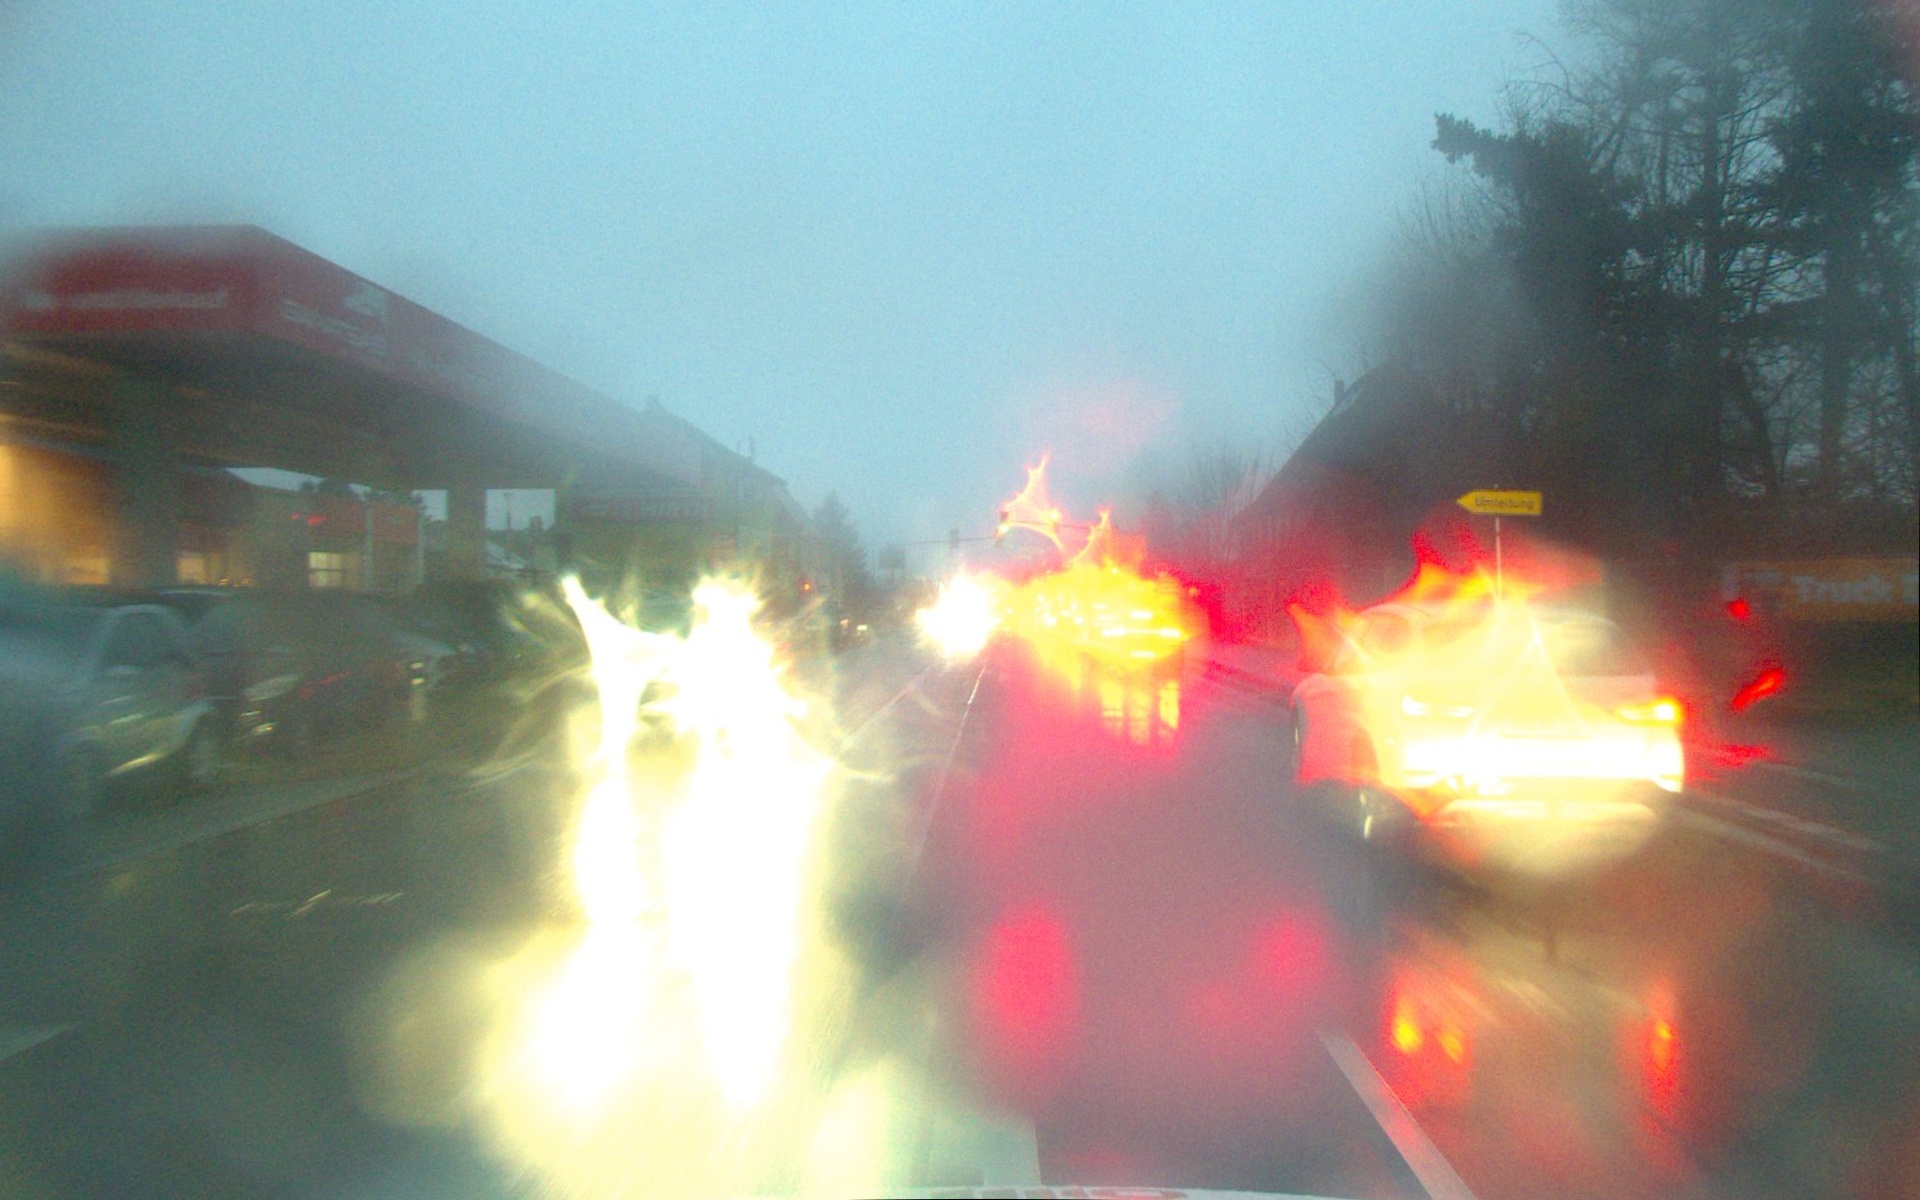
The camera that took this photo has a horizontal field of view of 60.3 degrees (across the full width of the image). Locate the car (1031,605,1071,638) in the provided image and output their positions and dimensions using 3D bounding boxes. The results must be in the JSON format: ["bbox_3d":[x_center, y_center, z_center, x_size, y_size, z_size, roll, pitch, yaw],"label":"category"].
[{"bbox_3d":[4.177,0.989,76.356,1.628,1.464,4.382,1,0,1],"label":"car"}]

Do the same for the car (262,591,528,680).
[{"bbox_3d":[-9.373,0.576,27.649,3.779,1.430,1.840,0,0,1],"label":"car"}]

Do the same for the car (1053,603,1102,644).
[{"bbox_3d":[4.824,0.958,68.412,1.798,1.596,4.504,1,0,1],"label":"car"}]

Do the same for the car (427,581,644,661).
[{"bbox_3d":[-9.191,0.446,36.047,4.192,1.685,1.981,0,0,1],"label":"car"}]

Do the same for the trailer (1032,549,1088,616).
[{"bbox_3d":[5.217,-0.834,87.554,2.436,3.297,10.869,1,0,1],"label":"trailer"}]

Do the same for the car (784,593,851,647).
[{"bbox_3d":[-5.180,0.703,60.838,1.930,1.862,4.513,-1,0,1],"label":"car"}]

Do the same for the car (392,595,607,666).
[{"bbox_3d":[-9.169,0.600,33.136,3.779,1.369,1.840,0,0,1],"label":"car"}]

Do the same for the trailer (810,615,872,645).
[{"bbox_3d":[-4.859,1.216,68.386,1.952,1.057,6.105,-1,0,1],"label":"trailer"}]

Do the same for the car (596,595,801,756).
[{"bbox_3d":[-2.813,0.757,18.579,1.570,1.561,4.000,-2,0,1],"label":"car"}]

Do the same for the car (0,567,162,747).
[{"bbox_3d":[-10.420,0.531,16.505,3.962,1.679,1.942,0,0,3],"label":"car"}]

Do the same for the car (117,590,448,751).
[{"bbox_3d":[-6.673,0.626,16.744,1.647,1.445,3.742,0,0,3],"label":"car"}]

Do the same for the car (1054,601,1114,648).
[{"bbox_3d":[3.743,0.729,50.520,1.619,1.359,4.273,0,0,2],"label":"car"}]

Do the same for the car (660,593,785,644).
[{"bbox_3d":[-8.697,0.668,60.831,4.188,1.655,2.000,3,0,1],"label":"car"}]

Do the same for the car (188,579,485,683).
[{"bbox_3d":[-9.500,0.457,25.425,3.779,1.434,1.944,1,0,1],"label":"car"}]

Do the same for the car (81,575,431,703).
[{"bbox_3d":[-9.499,0.495,22.530,3.948,1.581,1.824,1,1,1],"label":"car"}]

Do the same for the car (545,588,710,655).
[{"bbox_3d":[-9.440,0.604,47.221,4.188,1.691,2.000,3,0,1],"label":"car"}]

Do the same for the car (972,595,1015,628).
[{"bbox_3d":[1.691,0.588,86.099,2.006,1.600,4.701,-1,0,-1],"label":"car"}]

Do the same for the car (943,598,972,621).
[{"bbox_3d":[-0.165,0.729,129.398,1.951,1.777,4.002,-1,0,4],"label":"car"}]

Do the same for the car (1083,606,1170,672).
[{"bbox_3d":[3.702,0.839,37.431,1.607,1.390,4.770,1,0,2],"label":"car"}]

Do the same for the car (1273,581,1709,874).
[{"bbox_3d":[3.335,0.692,11.307,1.672,1.603,4.465,0,0,2],"label":"car"}]

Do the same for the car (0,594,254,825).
[{"bbox_3d":[-6.924,0.759,12.875,1.486,1.570,3.015,-1,0,1],"label":"car"}]

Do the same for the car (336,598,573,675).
[{"bbox_3d":[-9.251,0.652,30.458,3.779,1.369,1.840,0,0,1],"label":"car"}]
